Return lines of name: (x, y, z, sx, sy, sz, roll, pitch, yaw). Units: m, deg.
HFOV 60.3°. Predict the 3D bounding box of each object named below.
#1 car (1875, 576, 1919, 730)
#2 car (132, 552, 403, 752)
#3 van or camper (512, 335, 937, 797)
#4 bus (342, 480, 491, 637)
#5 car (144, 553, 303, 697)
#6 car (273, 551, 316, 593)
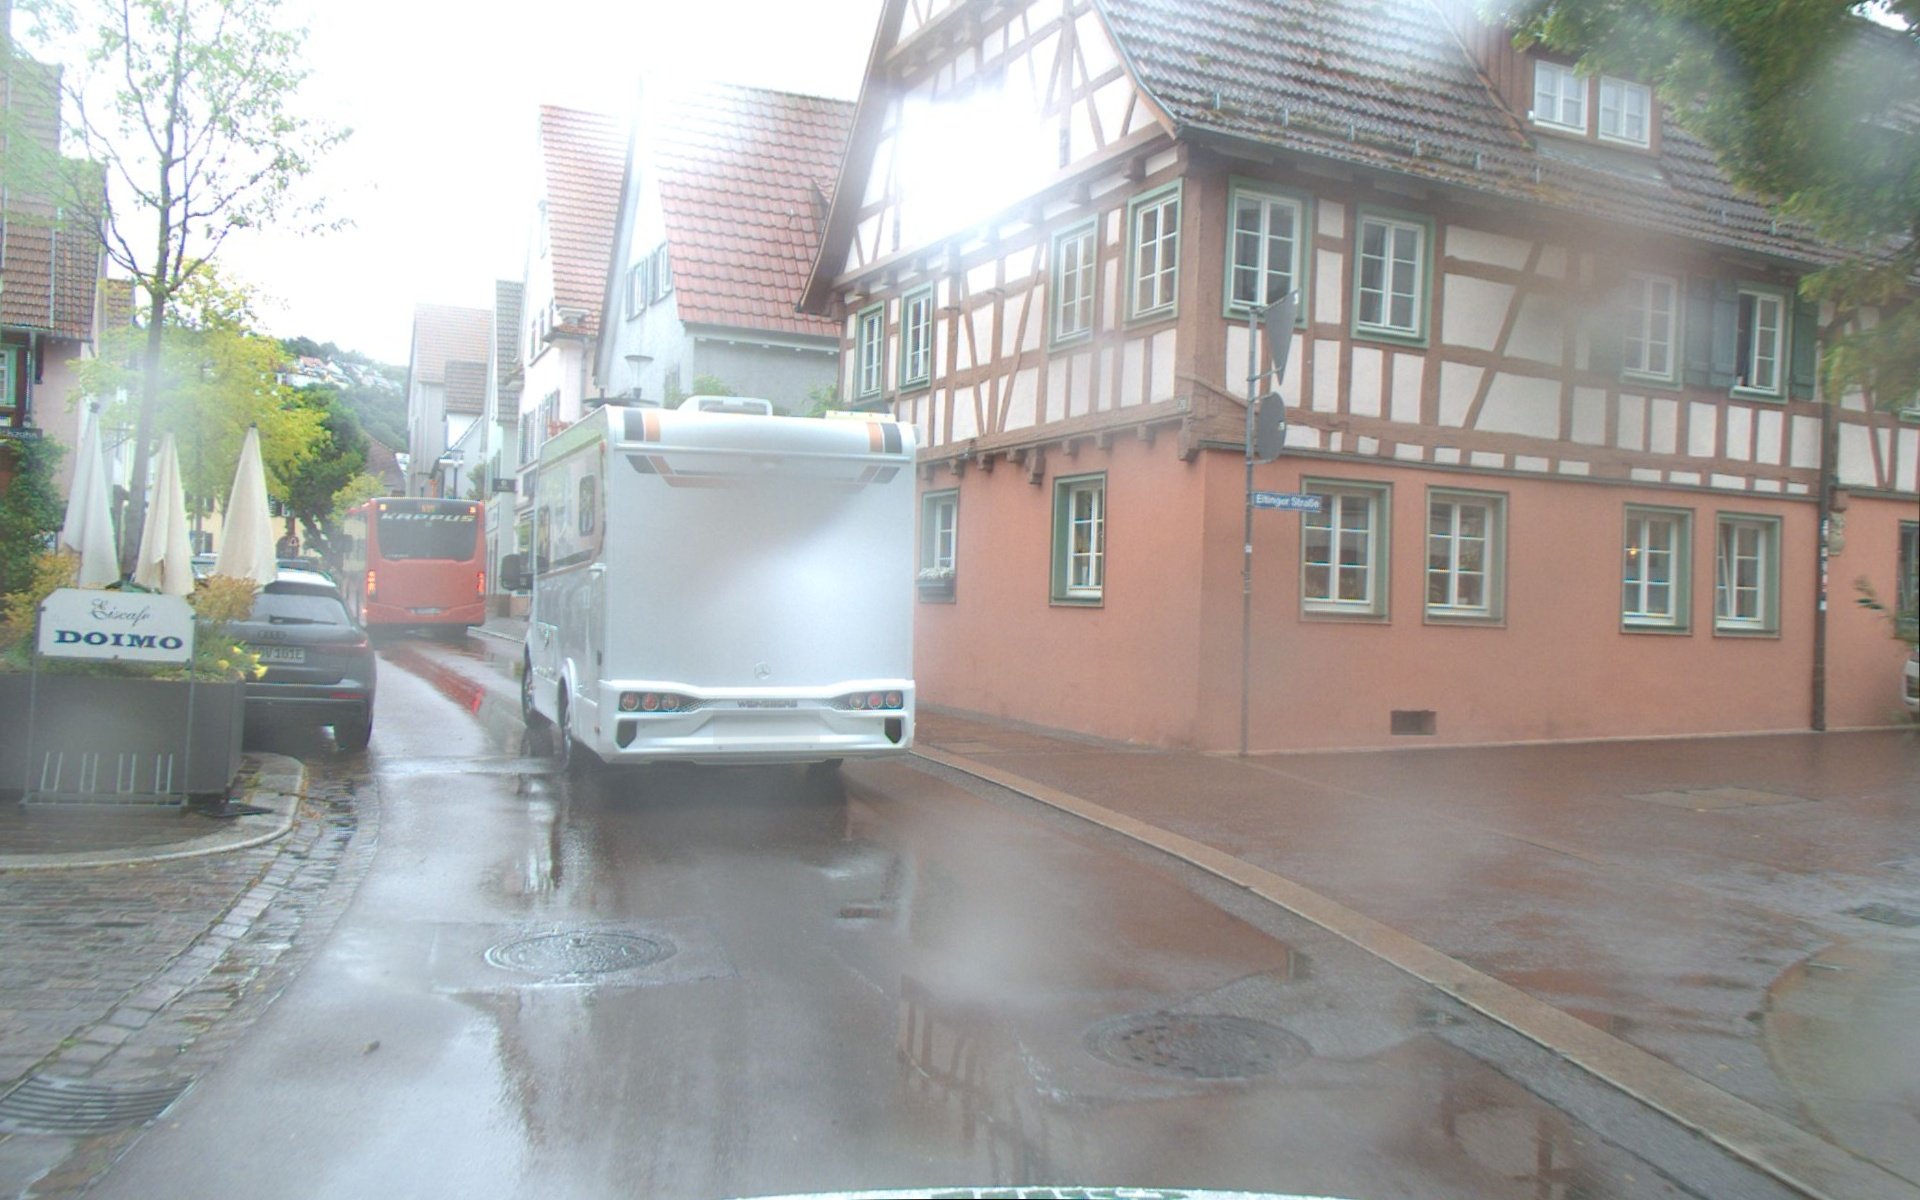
car: (12.627, 0.665, 18.563, 4.397, 1.659, 1.929, 1, 2, -27)
car: (-6.383, 0.375, 14.933, 1.781, 1.457, 4.585, 4, 0, -28)
van or camper: (-2.328, -0.181, 14.019, 2.291, 2.970, 6.355, 1, -1, -20)
bus: (-12.807, -0.863, 38.643, 2.607, 3.283, 6.552, 1, -1, -24)
car: (-8.899, 0.293, 20.174, 1.571, 1.573, 3.949, 1, -1, -22)
car: (-34.117, -1.404, 84.824, 1.966, 2.049, 3.973, 1, -1, -22)
